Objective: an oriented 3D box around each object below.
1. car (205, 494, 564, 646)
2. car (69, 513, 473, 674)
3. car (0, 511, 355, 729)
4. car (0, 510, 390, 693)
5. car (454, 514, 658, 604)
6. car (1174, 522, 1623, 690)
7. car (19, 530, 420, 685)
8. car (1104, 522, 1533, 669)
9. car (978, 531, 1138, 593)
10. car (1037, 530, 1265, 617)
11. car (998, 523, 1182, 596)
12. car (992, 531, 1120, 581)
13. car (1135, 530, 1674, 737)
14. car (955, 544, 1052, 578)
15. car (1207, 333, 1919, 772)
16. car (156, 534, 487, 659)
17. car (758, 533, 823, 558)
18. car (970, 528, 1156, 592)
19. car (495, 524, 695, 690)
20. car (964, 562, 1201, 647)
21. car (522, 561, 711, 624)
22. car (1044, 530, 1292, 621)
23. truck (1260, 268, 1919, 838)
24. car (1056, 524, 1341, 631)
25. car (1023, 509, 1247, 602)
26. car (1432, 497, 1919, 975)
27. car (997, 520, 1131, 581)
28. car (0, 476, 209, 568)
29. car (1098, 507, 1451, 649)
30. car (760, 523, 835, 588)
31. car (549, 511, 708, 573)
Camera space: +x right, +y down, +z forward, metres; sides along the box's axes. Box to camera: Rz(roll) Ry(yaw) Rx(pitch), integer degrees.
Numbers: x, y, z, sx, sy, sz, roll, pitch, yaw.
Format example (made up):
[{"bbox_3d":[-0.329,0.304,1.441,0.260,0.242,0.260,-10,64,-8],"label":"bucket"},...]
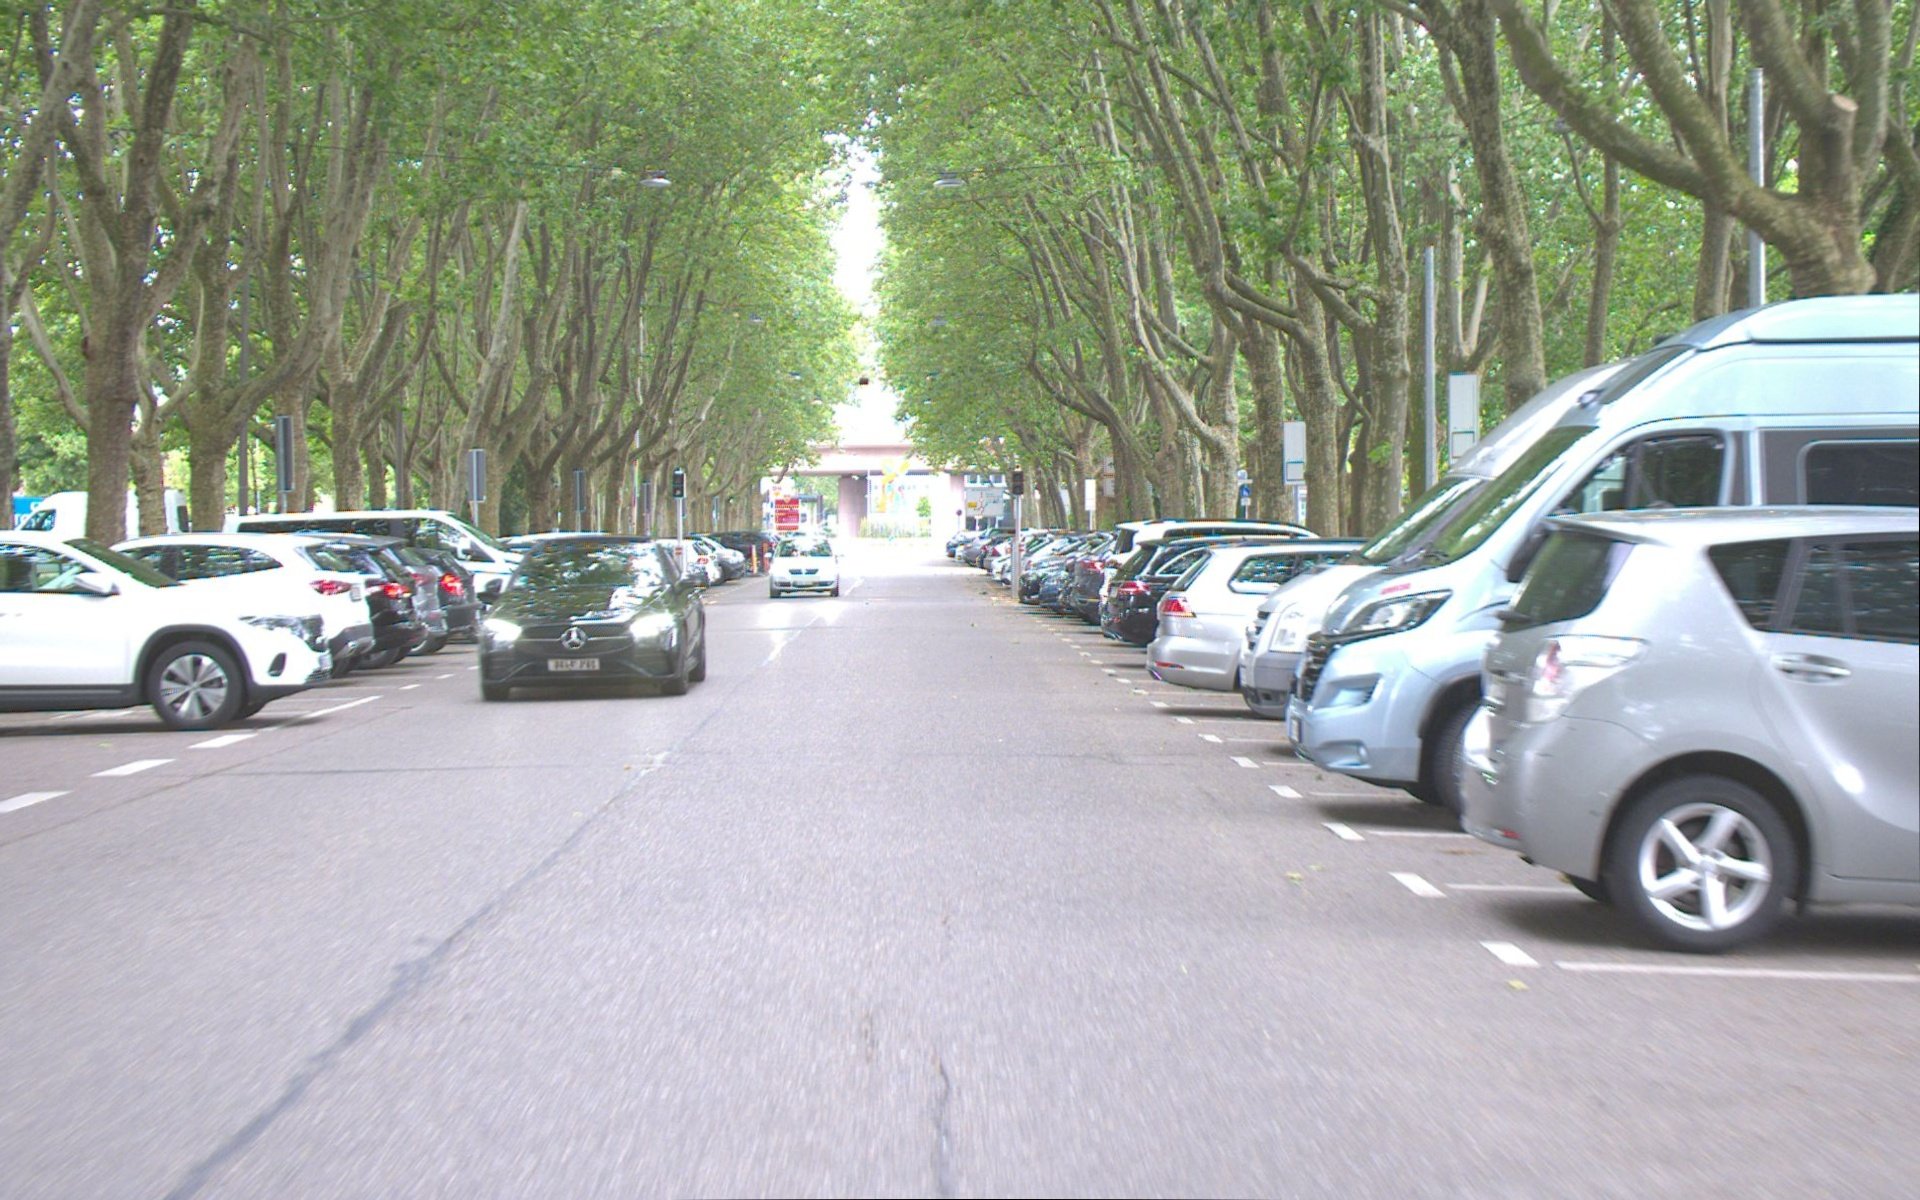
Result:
[{"bbox_3d":[-8.353,-0.447,50.205,4.893,2.012,1.920,-2,1,-1],"label":"car"},{"bbox_3d":[-8.068,-0.100,40.578,4.340,1.662,2.000,-3,1,-2],"label":"car"},{"bbox_3d":[-7.166,0.165,27.311,4.379,1.591,2.000,-2,1,-2],"label":"car"},{"bbox_3d":[-8.165,0.010,35.119,4.340,1.662,2.000,-3,1,-2],"label":"car"},{"bbox_3d":[-7.895,-0.813,67.425,3.826,1.622,1.953,-2,1,-3],"label":"car"},{"bbox_3d":[4.198,0.040,33.364,4.044,1.520,1.815,1,1,-2],"label":"car"},{"bbox_3d":[-8.055,0.059,37.686,3.986,1.470,1.843,-3,1,-3],"label":"car"},{"bbox_3d":[3.935,-0.067,38.176,4.501,1.520,1.703,1,1,-2],"label":"car"},{"bbox_3d":[2.633,-1.028,93.117,4.166,1.591,1.855,1,1,-4],"label":"car"},{"bbox_3d":[3.335,-0.477,60.458,3.826,1.450,1.695,1,1,-2],"label":"car"},{"bbox_3d":[2.741,-0.869,72.914,3.775,1.465,1.667,1,1,-1],"label":"car"},{"bbox_3d":[2.861,-1.319,103.096,3.645,1.419,1.986,1,1,-4],"label":"car"},{"bbox_3d":[3.540,0.251,27.918,4.120,1.424,1.703,3,1,1],"label":"car"},{"bbox_3d":[1.943,-1.722,152.009,4.176,1.437,1.731,1,1,4],"label":"car"},{"bbox_3d":[4.361,-0.313,22.895,5.228,2.680,1.957,2,1,0],"label":"car"},{"bbox_3d":[-8.268,-0.062,44.763,3.986,1.408,1.683,-3,1,-3],"label":"car"},{"bbox_3d":[-10.189,-3.285,206.831,3.814,1.510,1.686,0,1,3],"label":"car"},{"bbox_3d":[2.466,-0.965,82.855,4.296,1.465,1.624,1,1,-4],"label":"car"},{"bbox_3d":[-3.309,0.020,31.725,1.654,1.359,4.113,-3,1,-4],"label":"car"},{"bbox_3d":[2.219,0.075,63.105,4.211,1.446,1.611,1,1,-2],"label":"car"},{"bbox_3d":[-8.224,-0.196,82.545,4.400,1.360,1.695,-2,1,-3],"label":"car"},{"bbox_3d":[3.328,-0.401,55.523,3.826,1.384,1.695,1,1,-2],"label":"car"},{"bbox_3d":[4.817,-0.217,17.672,6.293,2.706,2.098,1,1,-1],"label":"truck"},{"bbox_3d":[3.460,-0.341,50.426,3.986,1.481,1.695,1,1,-2],"label":"car"},{"bbox_3d":[3.295,-0.848,65.201,4.113,1.664,1.694,1,1,0],"label":"car"},{"bbox_3d":[4.060,0.505,12.830,4.340,1.612,1.803,2,1,2],"label":"car"},{"bbox_3d":[2.948,-1.410,97.975,3.645,1.661,1.519,1,1,-4],"label":"car"},{"bbox_3d":[-25.151,-2.292,100.864,5.786,2.588,2.000,1,1,0],"label":"car"},{"bbox_3d":[4.089,-0.296,45.124,4.384,1.749,1.801,1,1,-2],"label":"car"},{"bbox_3d":[-3.863,-1.077,81.976,1.689,1.466,3.840,-2,1,-2],"label":"car"},{"bbox_3d":[-8.163,-1.438,84.904,3.826,1.425,1.695,-2,1,-3],"label":"car"}]
